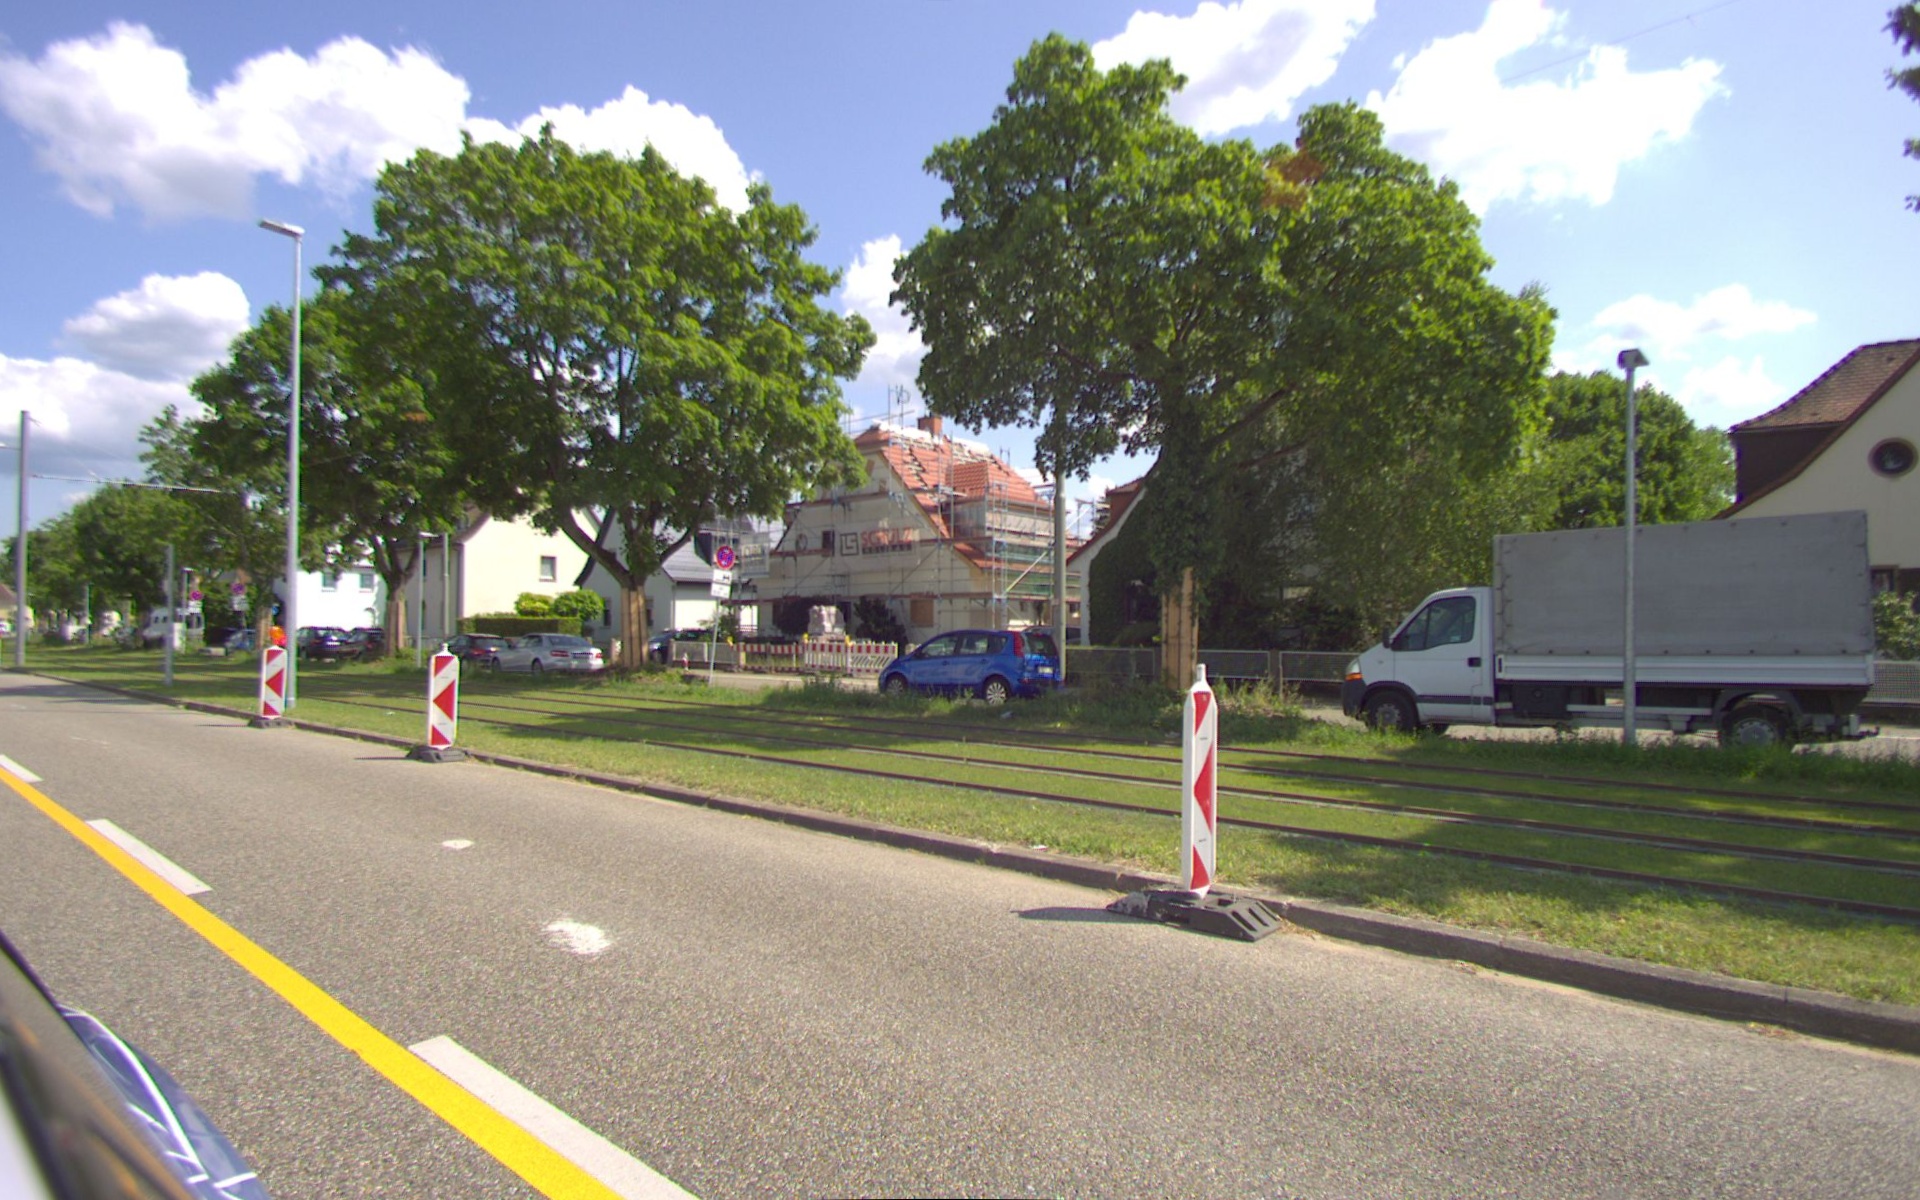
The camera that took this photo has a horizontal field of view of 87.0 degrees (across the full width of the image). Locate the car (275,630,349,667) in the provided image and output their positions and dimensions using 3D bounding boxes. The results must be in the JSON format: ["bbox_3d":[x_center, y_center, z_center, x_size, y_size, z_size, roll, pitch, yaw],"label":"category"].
[{"bbox_3d":[-29.516,2.230,46.065,4.403,1.584,1.680,-3,-3,41],"label":"car"}]

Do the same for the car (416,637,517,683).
[{"bbox_3d":[-17.540,2.124,35.886,4.403,1.497,1.680,-3,-3,41],"label":"car"}]

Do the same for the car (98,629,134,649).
[{"bbox_3d":[-69.134,3.214,82.904,4.404,1.497,1.679,-4,-3,42],"label":"car"}]

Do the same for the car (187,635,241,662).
[{"bbox_3d":[-44.501,2.881,60.318,4.403,1.497,1.680,-3,-3,41],"label":"car"}]

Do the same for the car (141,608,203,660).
[{"bbox_3d":[-49.541,2.168,63.593,5.080,3.061,2.108,-3,-3,41],"label":"car"}]

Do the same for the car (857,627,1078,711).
[{"bbox_3d":[0.062,1.356,20.291,4.403,1.497,1.680,-3,-3,41],"label":"car"}]

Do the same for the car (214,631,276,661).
[{"bbox_3d":[-37.516,2.434,53.039,4.403,1.497,1.680,-3,-3,41],"label":"car"}]

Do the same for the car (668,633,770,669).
[{"bbox_3d":[-10.947,2.298,46.205,1.702,1.497,4.345,-3,-3,41],"label":"car"}]

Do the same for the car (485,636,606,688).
[{"bbox_3d":[-13.124,1.938,31.883,4.520,1.497,1.765,-4,-3,42],"label":"car"}]

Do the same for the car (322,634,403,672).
[{"bbox_3d":[-25.200,2.258,42.643,4.403,1.497,1.680,-3,-3,41],"label":"car"}]

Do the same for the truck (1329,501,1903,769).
[{"bbox_3d":[8.284,0.458,13.401,5.971,2.802,2.242,-2,-3,41],"label":"truck"}]
